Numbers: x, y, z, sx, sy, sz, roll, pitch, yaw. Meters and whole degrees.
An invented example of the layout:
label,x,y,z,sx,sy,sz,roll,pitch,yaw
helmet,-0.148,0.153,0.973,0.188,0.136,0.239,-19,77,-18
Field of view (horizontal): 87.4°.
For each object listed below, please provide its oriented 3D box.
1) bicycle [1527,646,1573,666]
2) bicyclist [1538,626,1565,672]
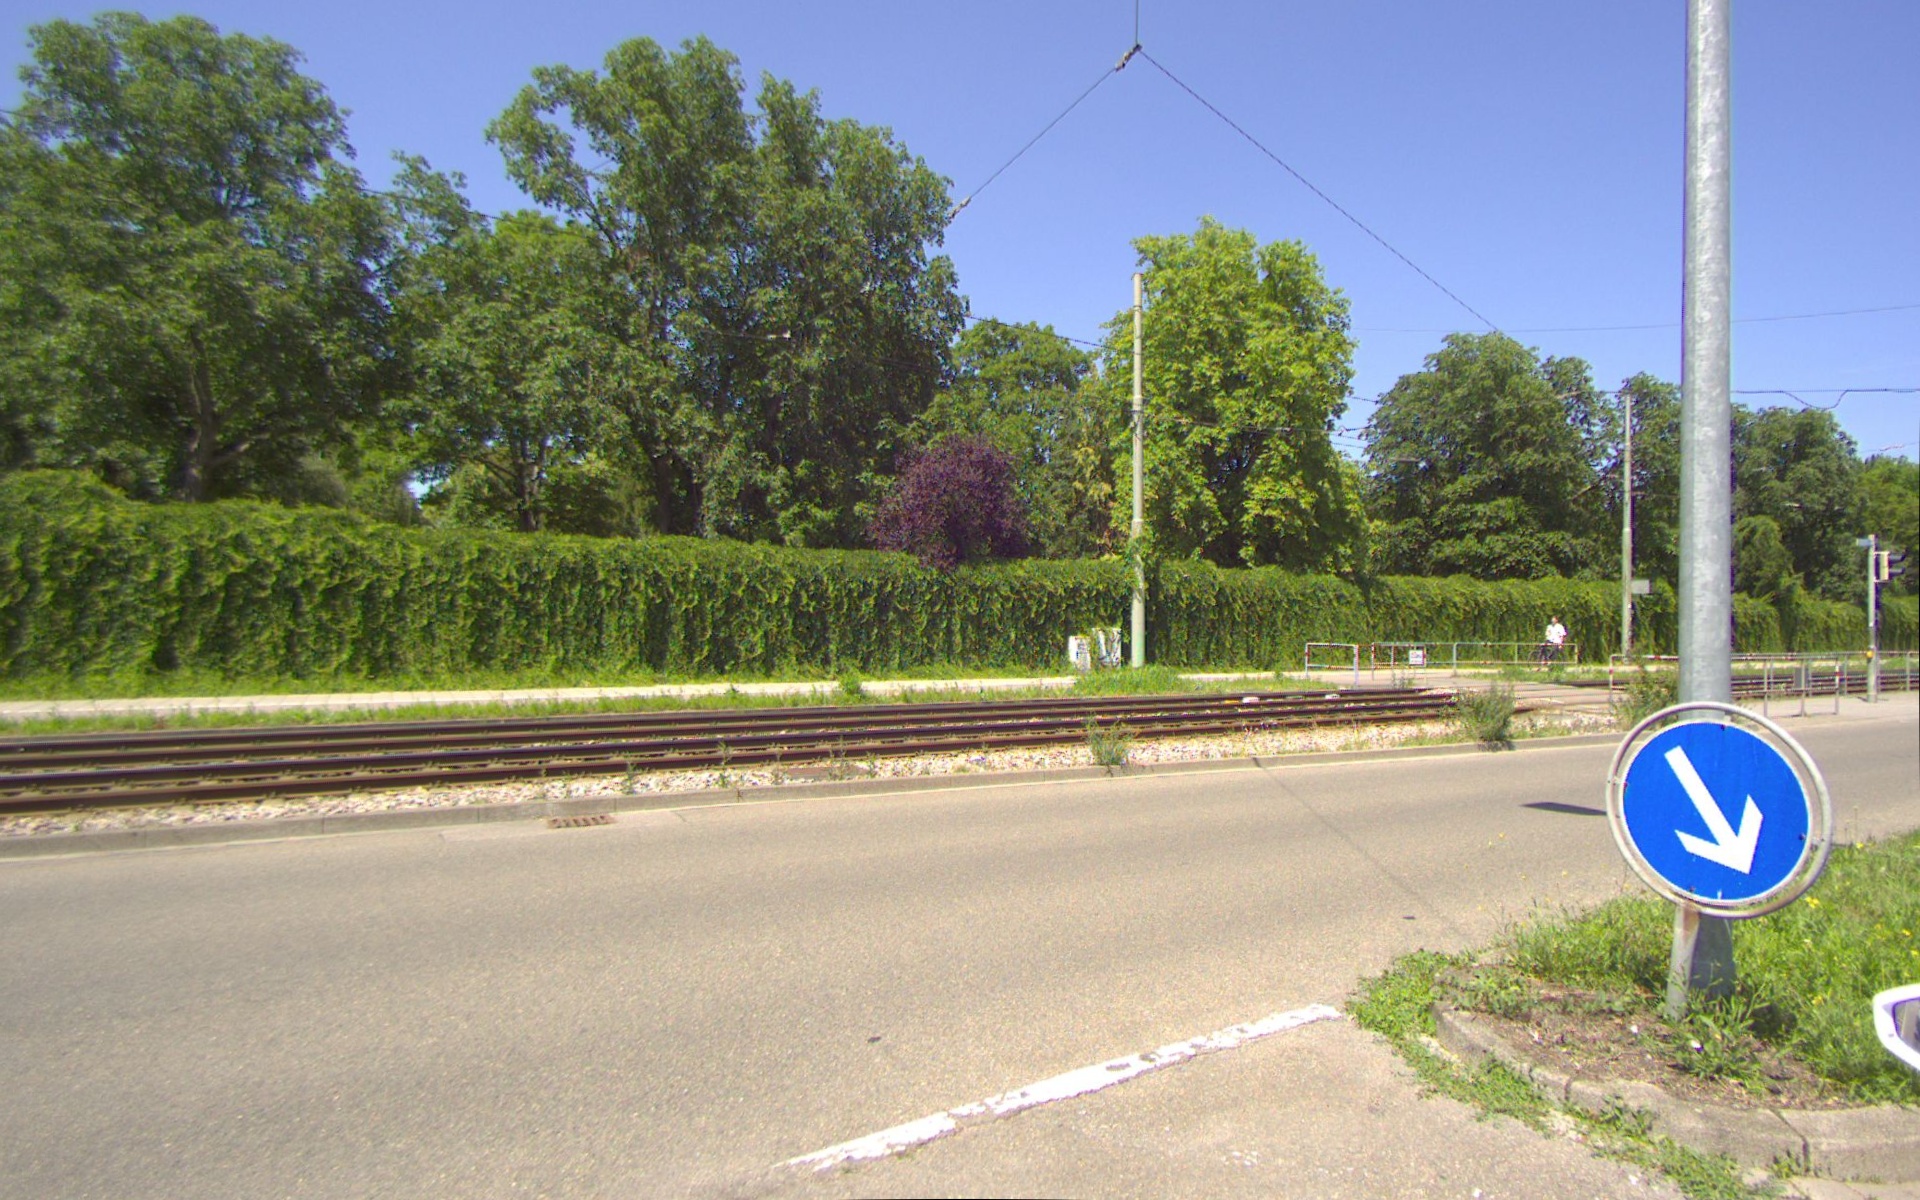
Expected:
label,x,y,z,sx,sy,sz,roll,pitch,yaw
bicycle,19.461,1.843,33.126,1.699,0.656,0.558,1,-1,-29
bicyclist,19.546,1.599,33.184,0.554,1.497,0.555,1,-1,-28
